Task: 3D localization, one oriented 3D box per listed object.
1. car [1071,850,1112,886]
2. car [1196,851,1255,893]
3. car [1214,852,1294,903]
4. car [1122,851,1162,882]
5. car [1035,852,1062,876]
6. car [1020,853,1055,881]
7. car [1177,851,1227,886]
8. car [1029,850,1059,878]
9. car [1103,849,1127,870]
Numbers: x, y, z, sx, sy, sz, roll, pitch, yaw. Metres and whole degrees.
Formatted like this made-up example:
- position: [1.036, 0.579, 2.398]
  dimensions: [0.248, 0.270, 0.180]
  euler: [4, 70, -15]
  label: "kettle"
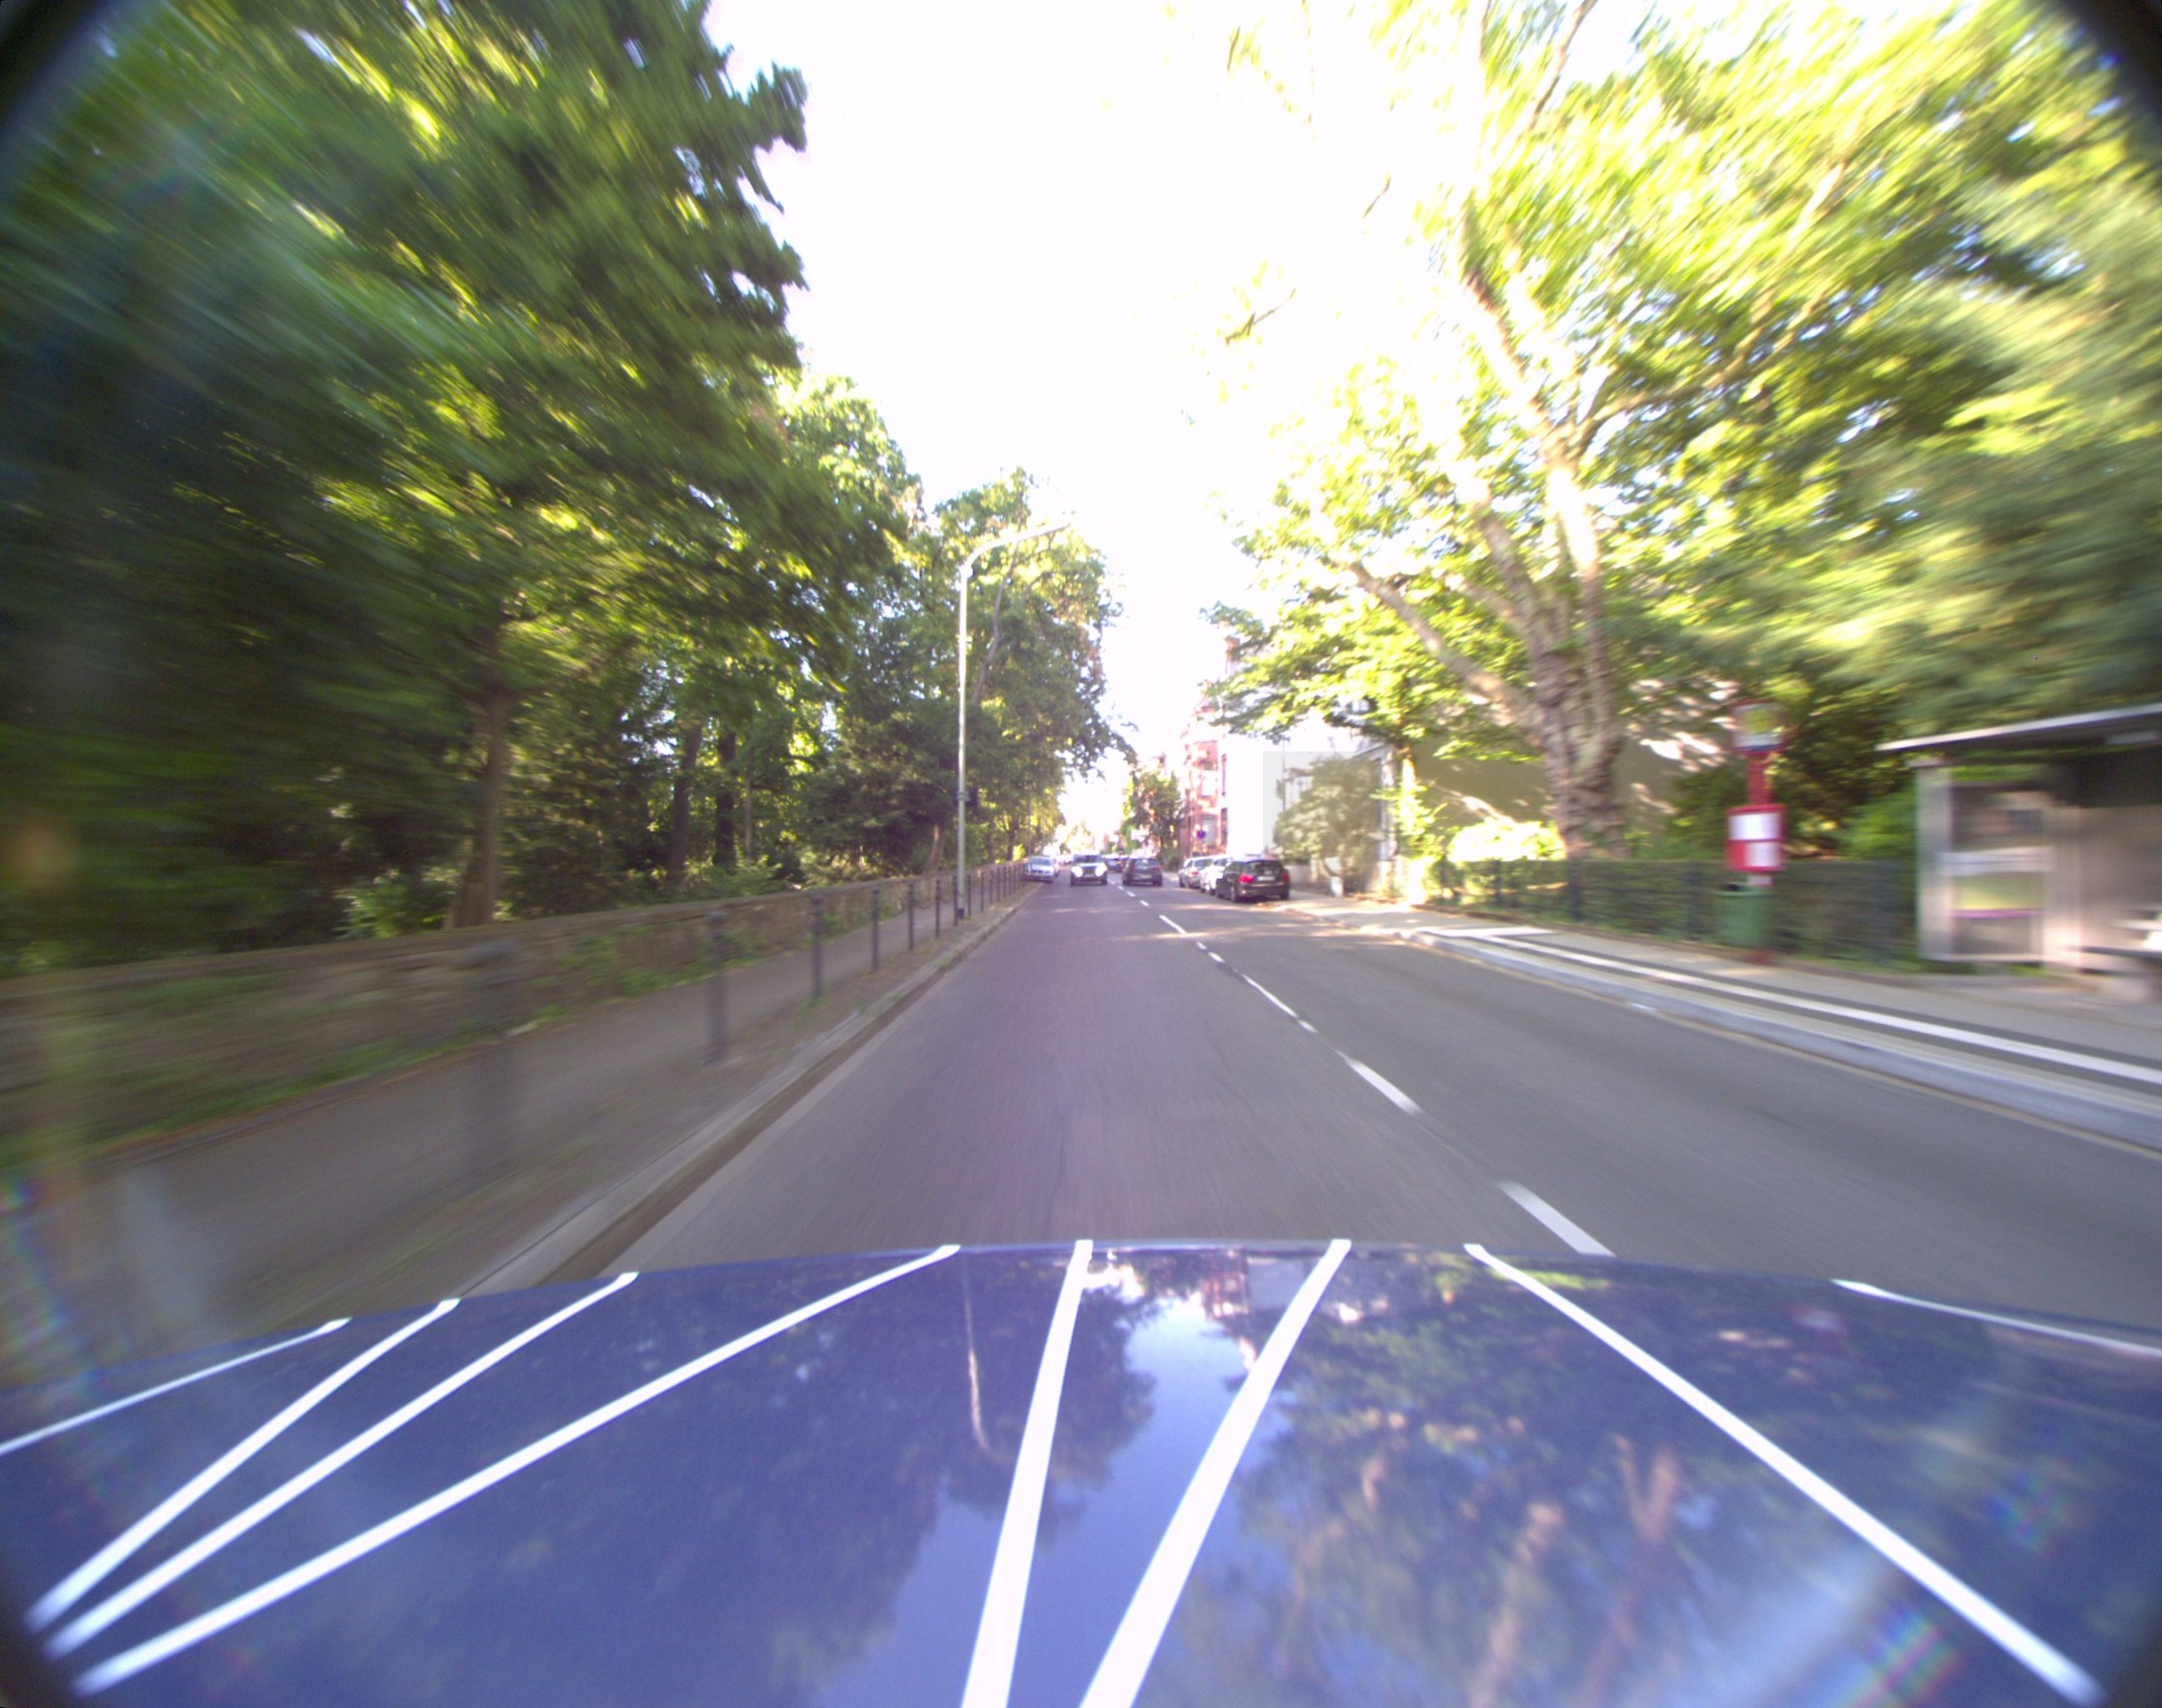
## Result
- position: [0.587, 0.668, 38.889]
  dimensions: [1.936, 1.676, 4.432]
  euler: [-1, 0, 3]
  label: "car"
- position: [5.587, 0.655, 29.748]
  dimensions: [1.628, 1.538, 3.321]
  euler: [-1, 0, -1]
  label: "car"
- position: [5.521, 0.707, 24.674]
  dimensions: [1.689, 1.426, 3.615]
  euler: [-4, 0, 0]
  label: "car"
- position: [2.974, 0.591, 37.545]
  dimensions: [1.628, 1.426, 3.559]
  euler: [1, 0, -1]
  label: "car"
- position: [-2.439, 0.692, 55.889]
  dimensions: [1.861, 1.568, 3.998]
  euler: [-3, 1, -3]
  label: "car"
- position: [-2.465, 0.718, 43.029]
  dimensions: [1.824, 1.375, 3.933]
  euler: [2, 1, -4]
  label: "car"
- position: [5.517, 0.622, 34.959]
  dimensions: [1.628, 1.426, 3.559]
  euler: [-4, 1, 0]
  label: "car"
- position: [-2.499, 0.676, 50.590]
  dimensions: [1.823, 1.678, 3.999]
  euler: [-3, 0, -4]
  label: "car"
- position: [2.947, 0.424, 65.840]
  dimensions: [1.875, 1.608, 4.000]
  euler: [-4, 0, 2]
  label: "car"
